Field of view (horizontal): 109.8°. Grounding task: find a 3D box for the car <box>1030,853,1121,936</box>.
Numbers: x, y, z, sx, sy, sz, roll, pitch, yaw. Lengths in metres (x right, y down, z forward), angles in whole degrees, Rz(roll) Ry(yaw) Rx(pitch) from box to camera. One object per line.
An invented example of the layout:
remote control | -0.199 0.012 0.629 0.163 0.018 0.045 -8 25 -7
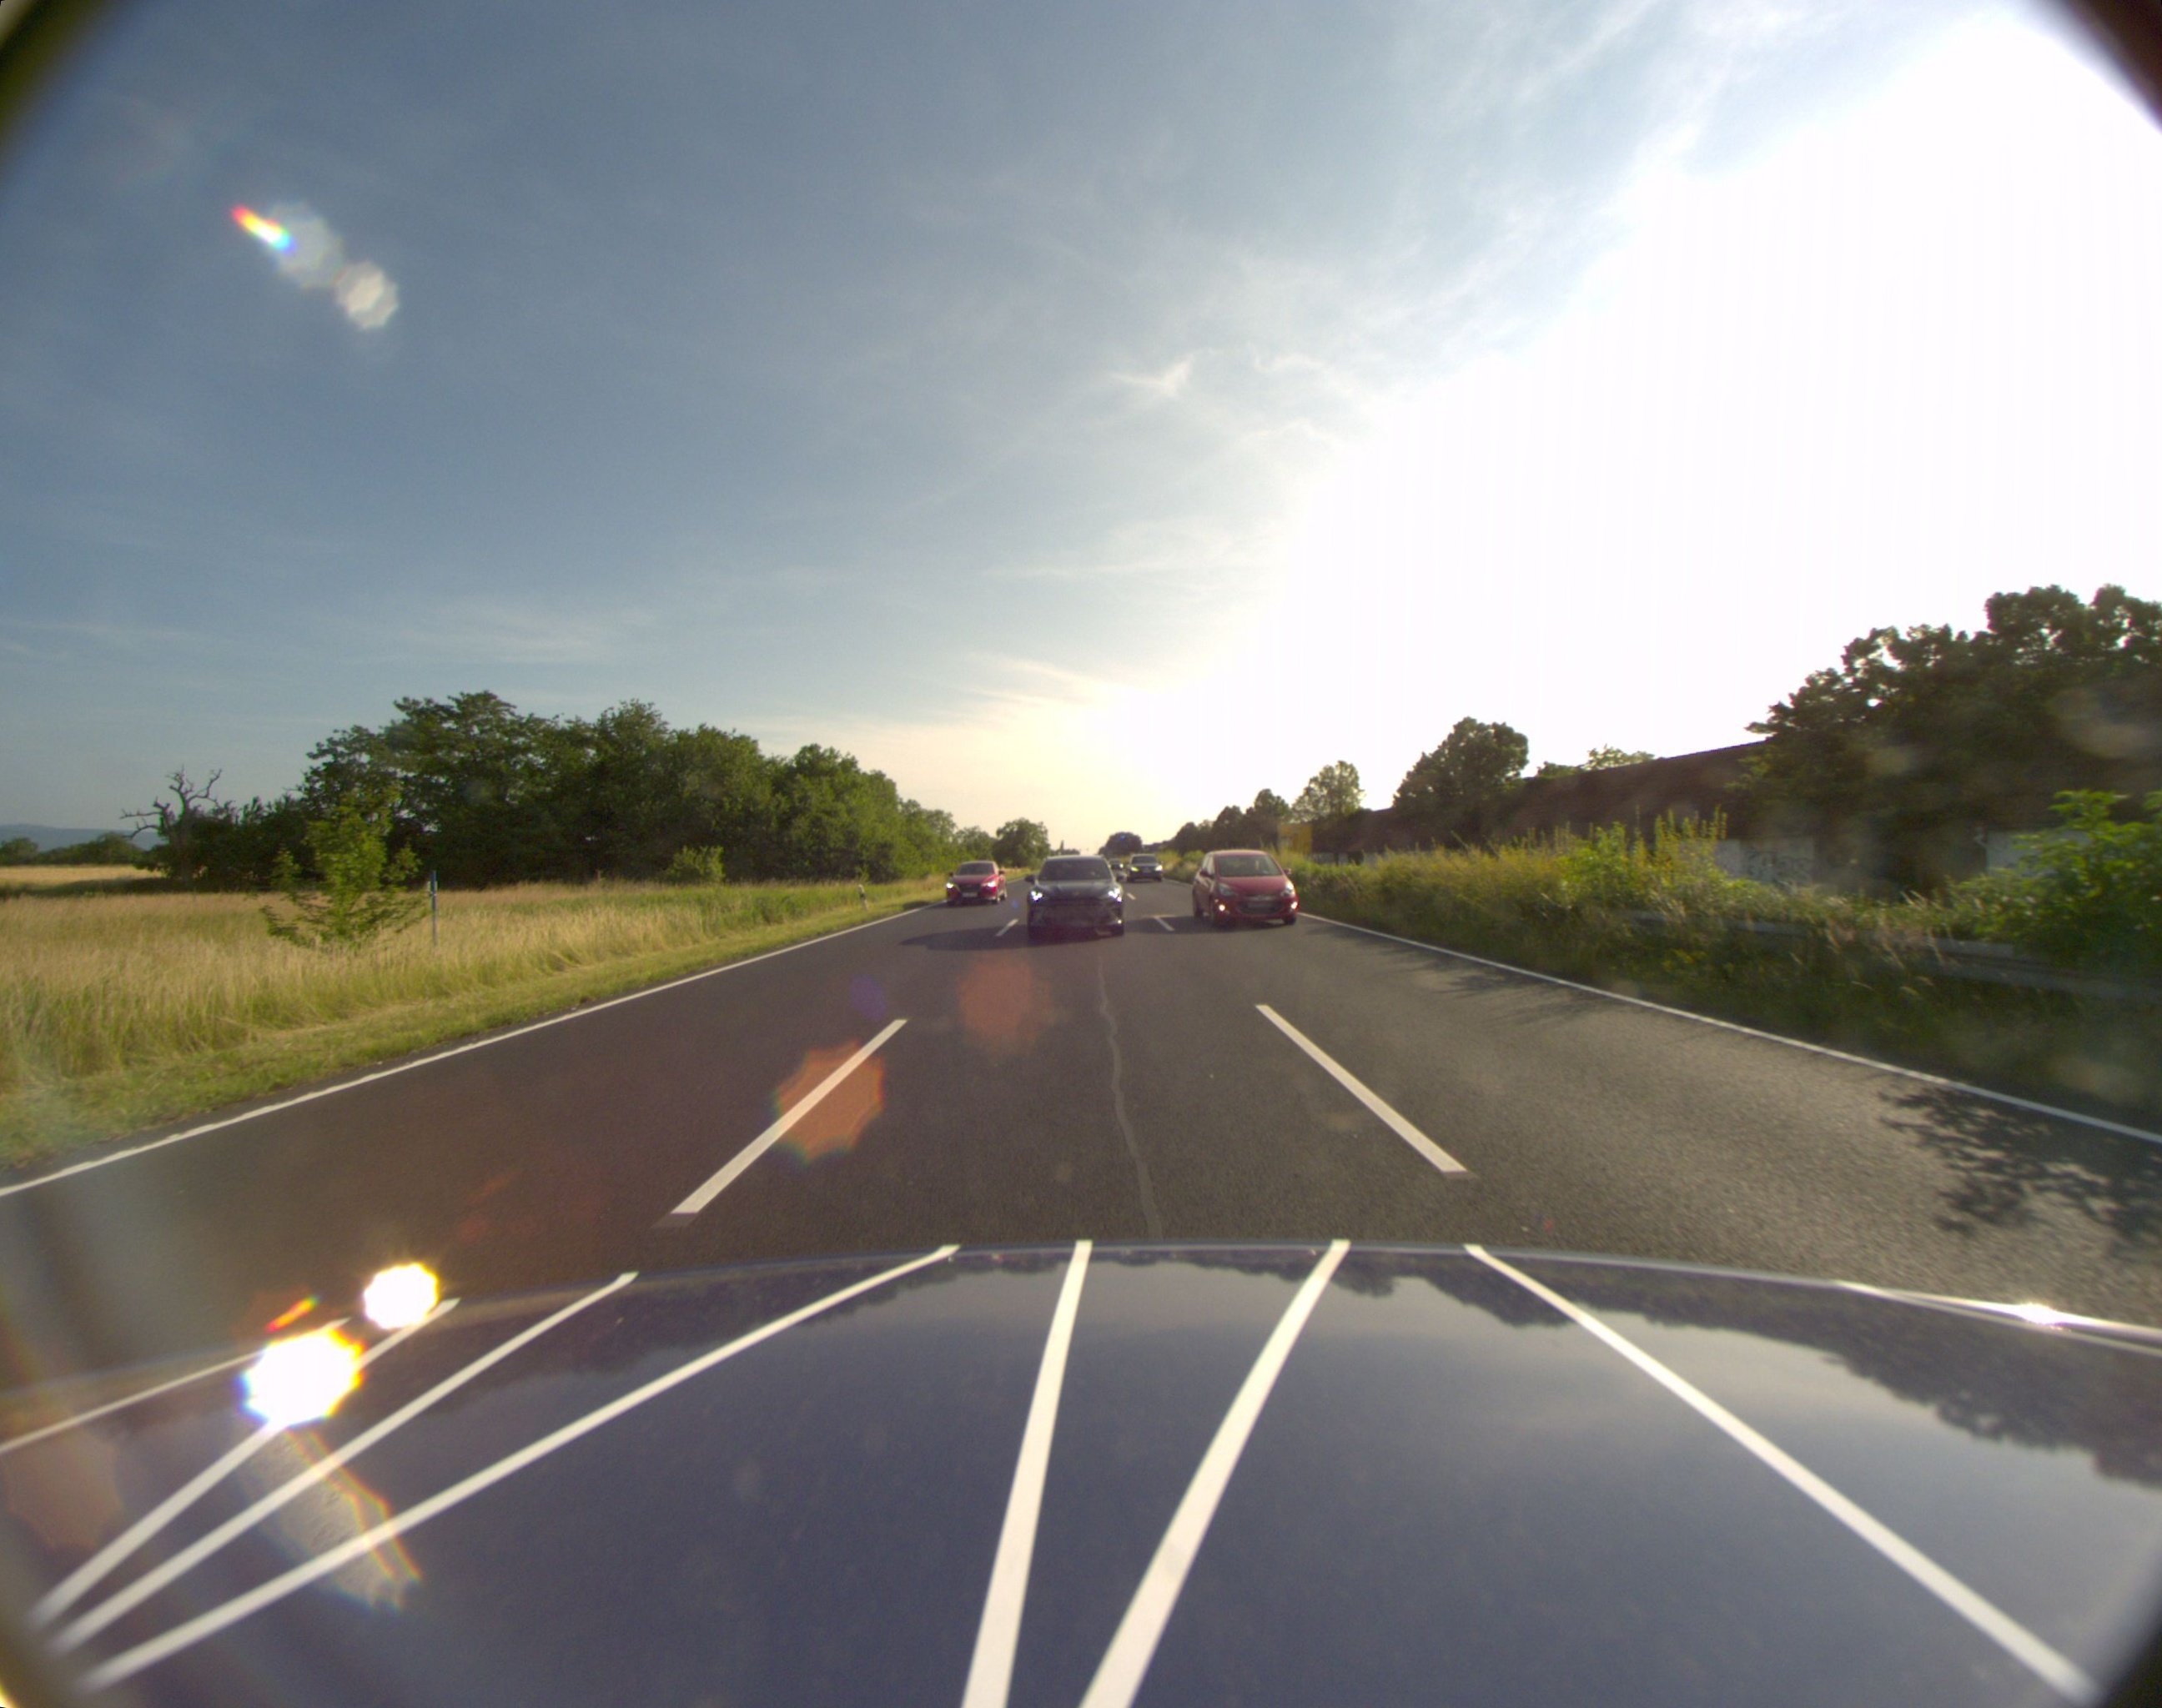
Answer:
car | -0.084 0.828 17.611 1.791 1.594 4.339 -2 1 1

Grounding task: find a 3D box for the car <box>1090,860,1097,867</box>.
car | 3.794 2.841 227.827 1.998 2.002 4.000 -2 1 1

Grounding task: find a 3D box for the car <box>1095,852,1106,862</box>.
car | 3.691 0.517 141.503 1.918 1.871 4.000 -2 1 1

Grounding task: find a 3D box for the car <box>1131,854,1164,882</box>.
car | 4.008 0.797 46.322 1.719 1.521 4.000 -2 1 1

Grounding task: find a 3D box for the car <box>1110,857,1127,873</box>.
car | 4.646 1.314 95.100 1.918 1.871 4.000 -2 1 1

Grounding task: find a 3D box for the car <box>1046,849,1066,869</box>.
car | -2.631 0.515 79.191 1.999 2.002 3.999 -2 1 -2

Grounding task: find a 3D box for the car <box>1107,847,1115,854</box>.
car | 8.392 -0.984 211.919 1.998 2.002 4.000 -2 1 1

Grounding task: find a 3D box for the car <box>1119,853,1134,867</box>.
car | 6.599 0.839 111.001 1.918 1.871 4.000 -2 1 1

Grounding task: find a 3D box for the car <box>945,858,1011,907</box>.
car | -3.644 0.962 27.617 1.708 1.497 4.500 -2 1 0

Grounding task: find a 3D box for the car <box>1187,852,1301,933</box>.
car | 3.569 0.776 17.354 1.748 1.537 4.000 -2 1 1
